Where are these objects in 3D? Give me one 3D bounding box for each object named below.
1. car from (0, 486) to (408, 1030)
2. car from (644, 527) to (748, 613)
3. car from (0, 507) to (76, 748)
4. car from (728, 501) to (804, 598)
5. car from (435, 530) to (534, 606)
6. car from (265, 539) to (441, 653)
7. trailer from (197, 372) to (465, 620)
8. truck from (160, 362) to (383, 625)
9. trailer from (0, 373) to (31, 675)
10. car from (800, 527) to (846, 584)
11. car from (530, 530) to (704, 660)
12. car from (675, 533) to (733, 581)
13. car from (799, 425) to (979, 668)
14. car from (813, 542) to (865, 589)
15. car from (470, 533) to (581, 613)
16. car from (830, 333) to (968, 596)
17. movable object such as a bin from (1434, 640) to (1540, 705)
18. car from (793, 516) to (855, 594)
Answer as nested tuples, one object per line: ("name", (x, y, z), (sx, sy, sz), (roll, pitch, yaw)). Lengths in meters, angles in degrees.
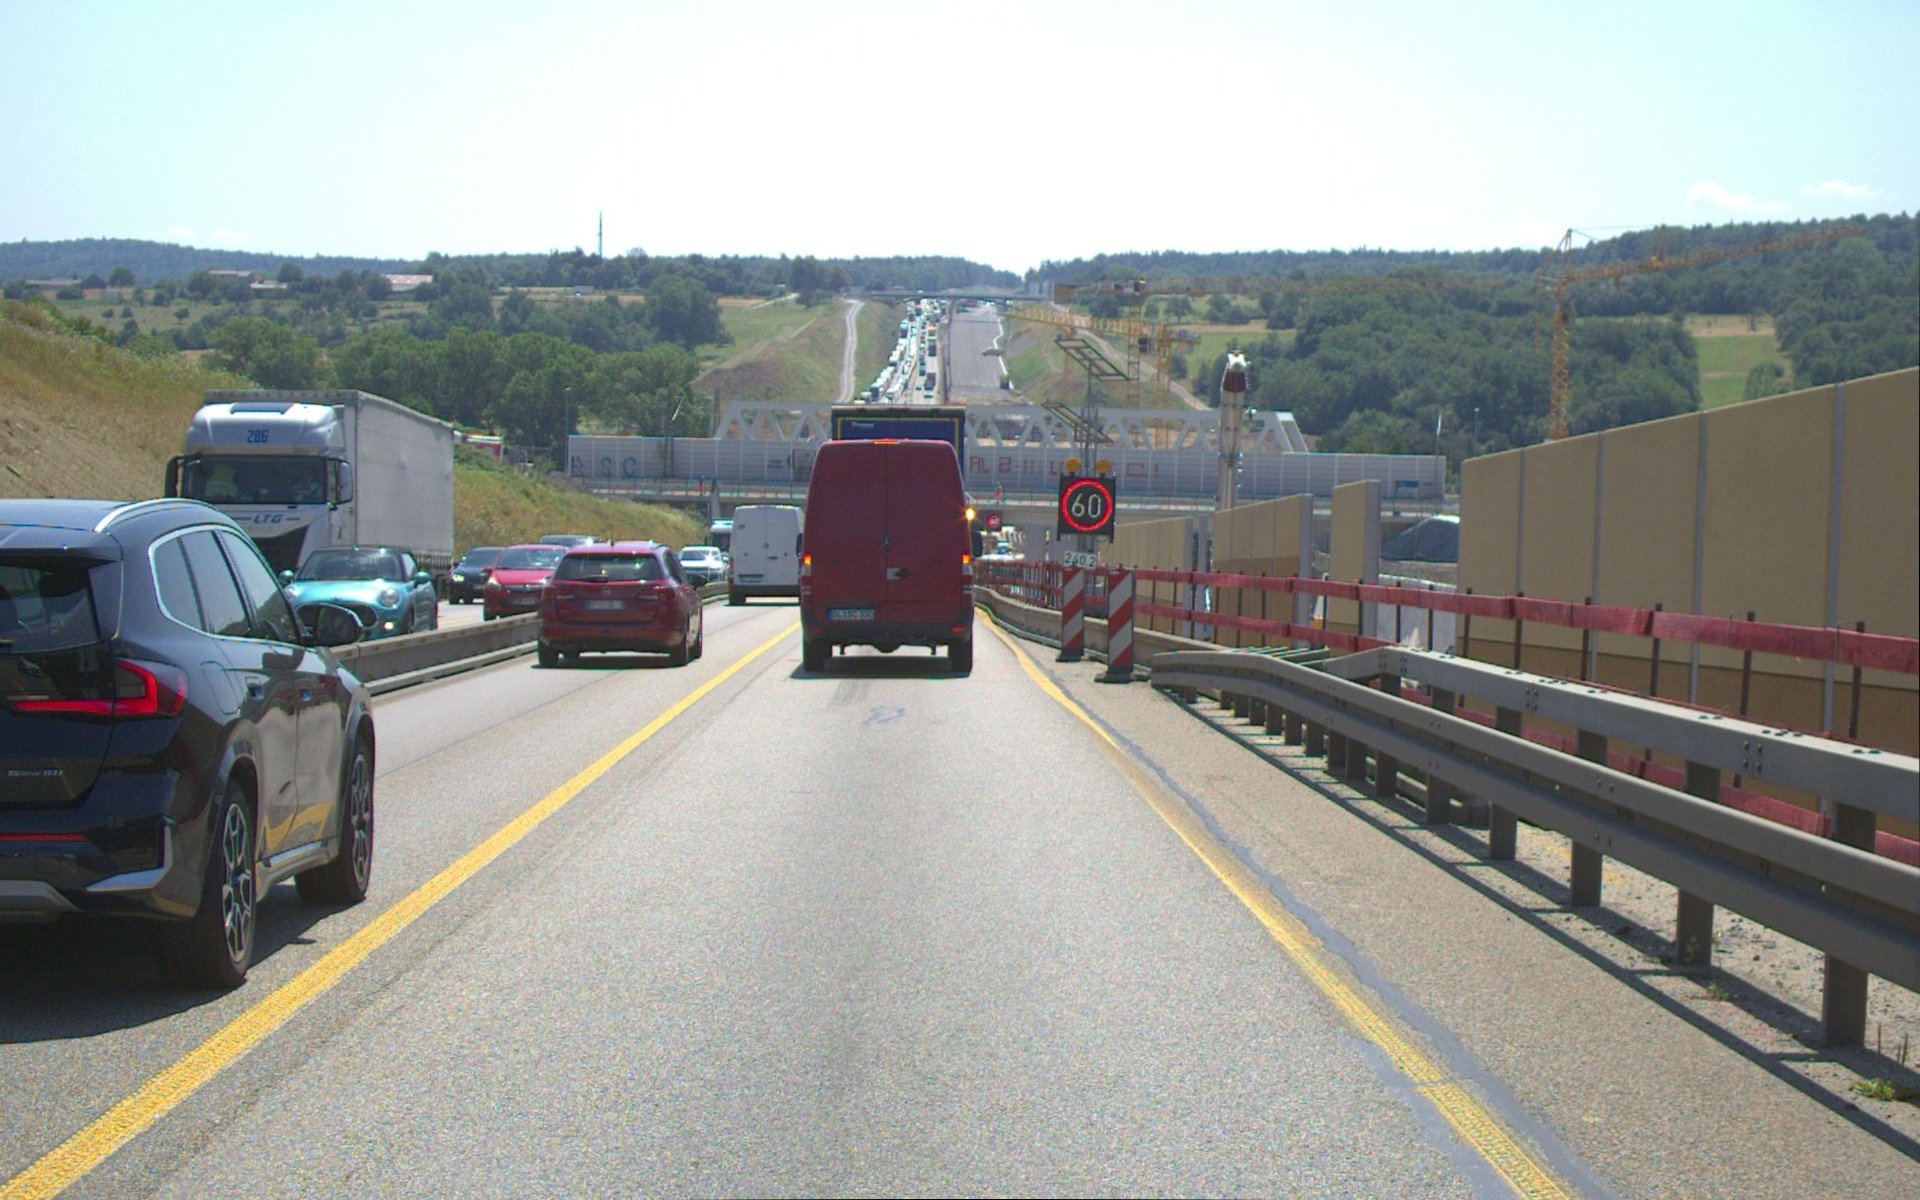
("car", (-3.262, 0.437, 12.433), (1.879, 1.612, 4.499), (0, 1, -1))
("car", (-5.202, -0.610, 68.051), (1.839, 1.648, 4.165), (0, 1, -2))
("car", (-7.342, 0.178, 23.073), (1.718, 1.629, 4.500), (1, 1, -1))
("car", (-4.975, -1.308, 88.498), (1.776, 2.433, 4.206), (0, 1, -1))
("car", (-12.484, -0.876, 90.533), (2.038, 1.919, 5.122), (-1, 1, -2))
("car", (-7.797, -0.087, 44.448), (1.665, 1.389, 3.905), (0, 1, -1))
("trailer", (-11.609, -1.887, 64.899), (2.785, 4.167, 13.980), (0, 1, -1))
("truck", (-11.433, -1.746, 57.510), (2.745, 4.167, 5.289), (0, 1, -1))
("trailer", (-10.801, -0.724, 32.095), (2.612, 2.990, 6.371), (1, 1, -1))
("car", (-5.654, -1.833, 142.118), (1.776, 2.322, 4.206), (0, 1, -1))
("car", (-4.128, -0.088, 41.897), (1.776, 1.512, 4.206), (0, 1, -1))
("car", (-9.177, -1.561, 123.547), (1.839, 1.648, 5.372), (0, 1, -2))
("car", (-0.830, -0.626, 40.381), (1.988, 2.681, 4.624), (0, 1, -1))
("car", (-4.285, -1.231, 122.106), (1.776, 1.664, 4.029), (0, 1, -1))
("car", (-8.206, -0.540, 65.191), (1.669, 1.461, 4.000), (0, 1, -1))
("car", (-1.261, -2.664, 70.704), (2.621, 5.015, 10.397), (0, 1, -1))
("movable object such as a bin", (22.586, 3.072, 147.756), (3.163, 2.437, 7.895), (3, 0, 0))
("car", (-4.121, -1.368, 104.667), (1.776, 2.322, 4.206), (0, 1, -1))
